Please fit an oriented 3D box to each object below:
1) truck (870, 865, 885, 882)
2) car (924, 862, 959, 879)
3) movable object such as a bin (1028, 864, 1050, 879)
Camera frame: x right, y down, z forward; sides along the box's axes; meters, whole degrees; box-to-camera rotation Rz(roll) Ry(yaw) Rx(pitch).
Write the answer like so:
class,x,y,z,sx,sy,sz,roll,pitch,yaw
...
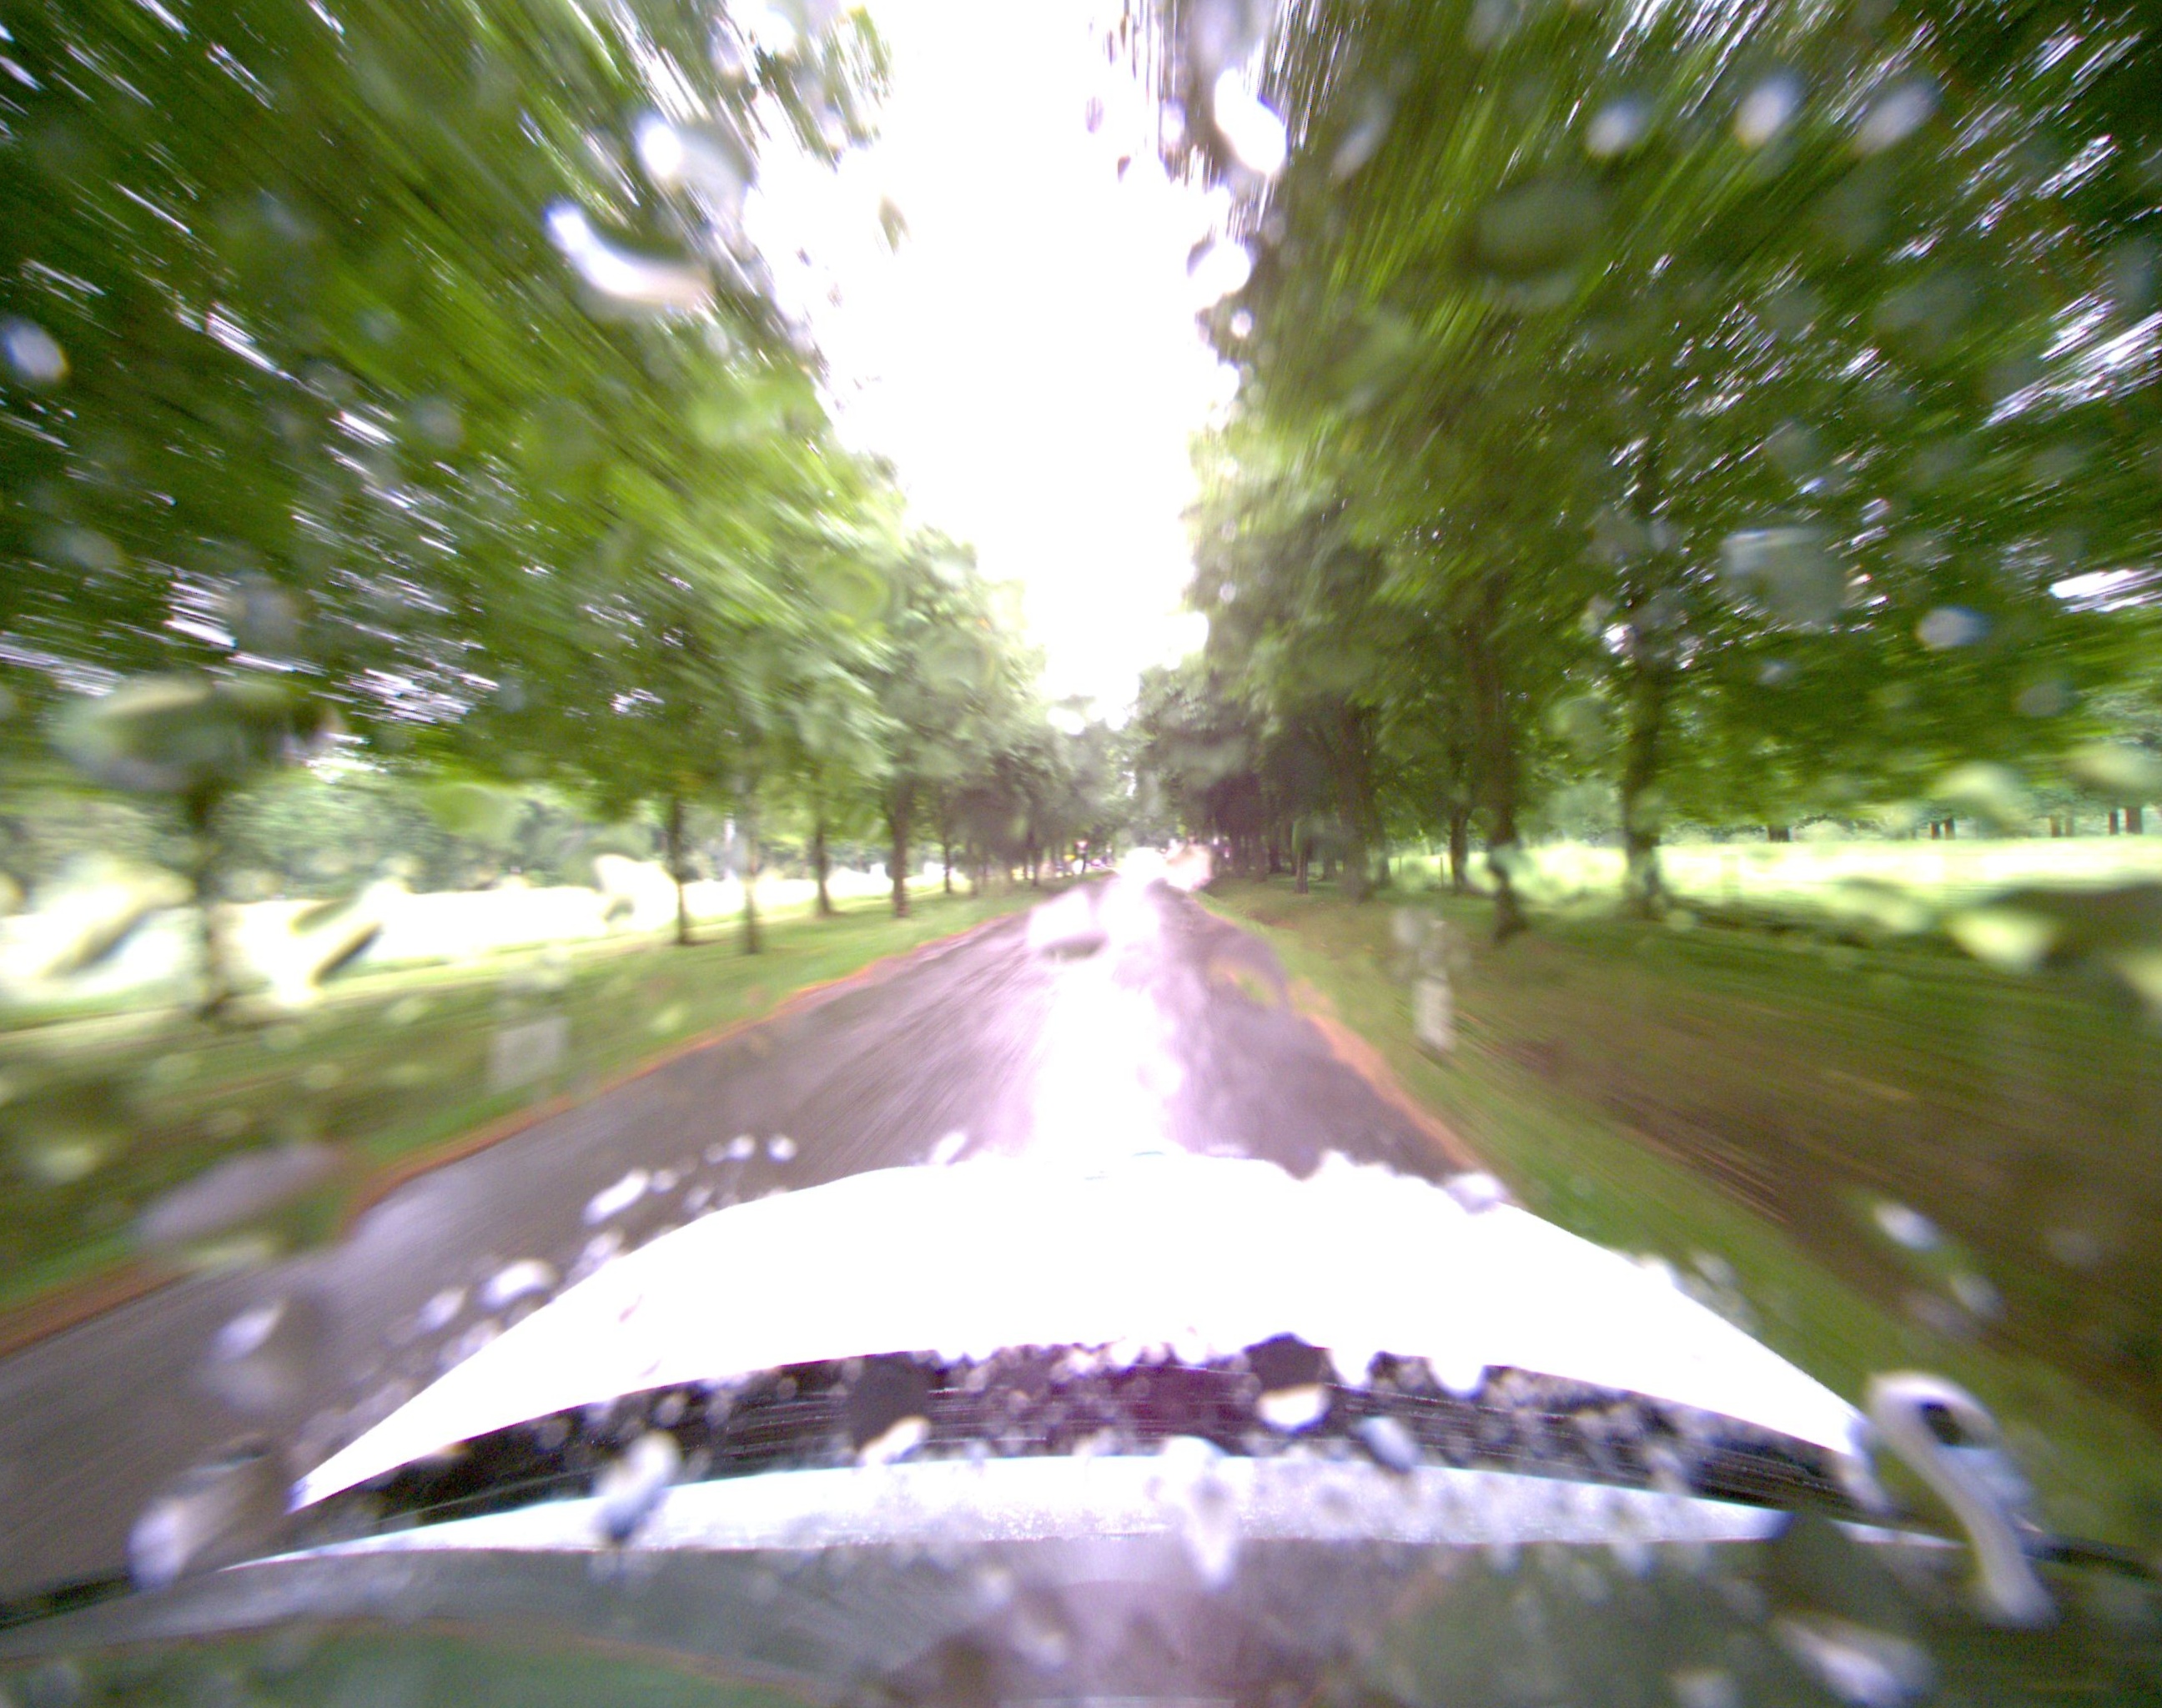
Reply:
class,x,y,z,sx,sy,sz,roll,pitch,yaw
truck,-30.435,2.962,121.869,1.869,2.443,3.338,-2,-1,-10
car,-21.896,2.626,127.385,2.406,2.408,5.909,1,-4,-44
movable object such as a bin,-9.512,3.926,182.895,4.577,3.294,3.657,-2,-1,-7
